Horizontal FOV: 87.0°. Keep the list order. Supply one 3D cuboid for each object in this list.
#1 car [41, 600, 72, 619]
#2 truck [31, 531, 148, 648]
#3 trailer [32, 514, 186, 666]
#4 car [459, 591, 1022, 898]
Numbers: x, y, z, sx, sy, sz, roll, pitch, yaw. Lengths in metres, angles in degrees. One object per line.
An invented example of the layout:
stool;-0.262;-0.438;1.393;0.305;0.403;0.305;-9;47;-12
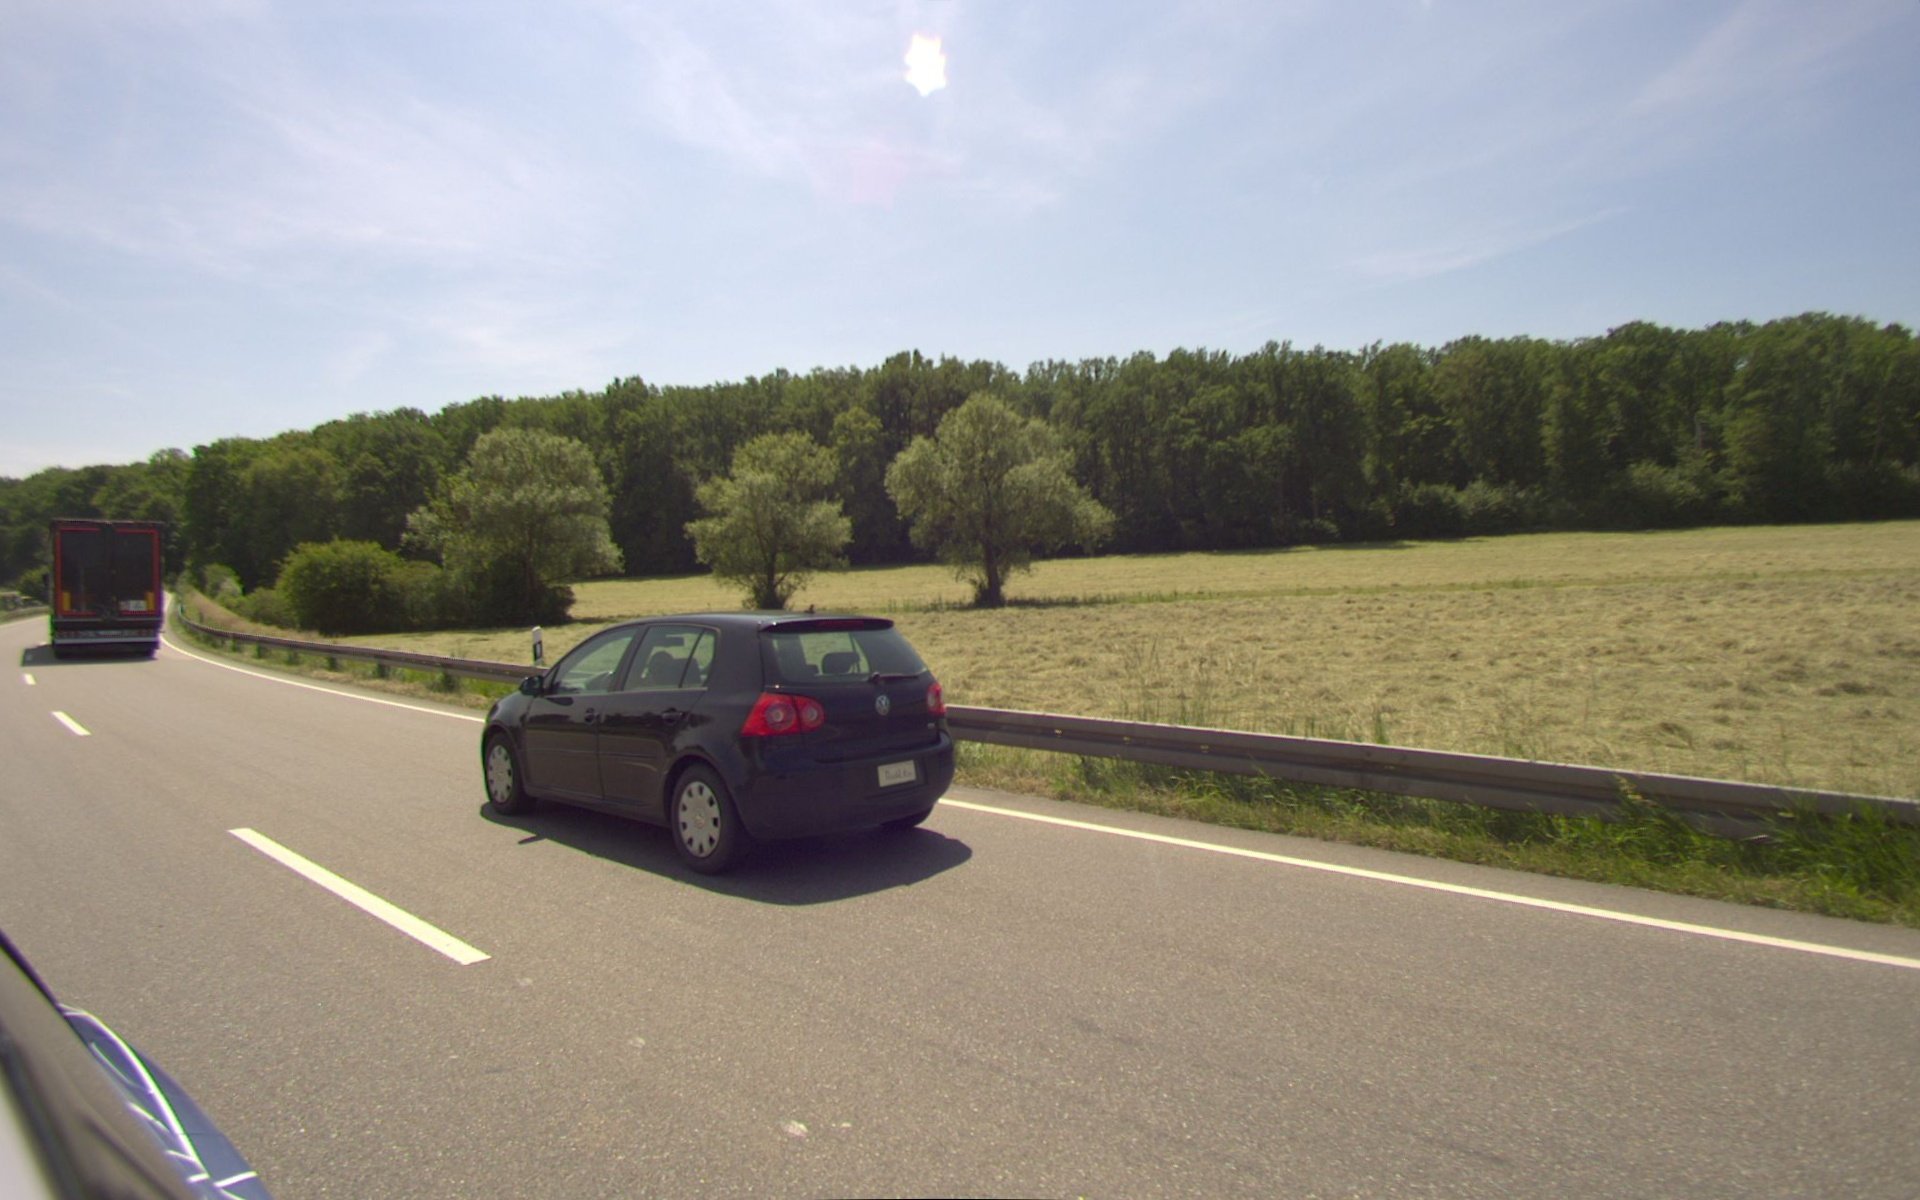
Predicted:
car;-72.071;0.758;80.771;1.597;1.447;3.450;-3;2;-38
truck;-34.246;-0.324;39.736;3.203;4.181;6.658;0;-1;-43
trailer;-29.144;-0.242;34.284;3.203;4.181;14.457;0;0;-43
car;-1.732;0.760;6.955;4.200;1.481;1.681;-2;-2;43
